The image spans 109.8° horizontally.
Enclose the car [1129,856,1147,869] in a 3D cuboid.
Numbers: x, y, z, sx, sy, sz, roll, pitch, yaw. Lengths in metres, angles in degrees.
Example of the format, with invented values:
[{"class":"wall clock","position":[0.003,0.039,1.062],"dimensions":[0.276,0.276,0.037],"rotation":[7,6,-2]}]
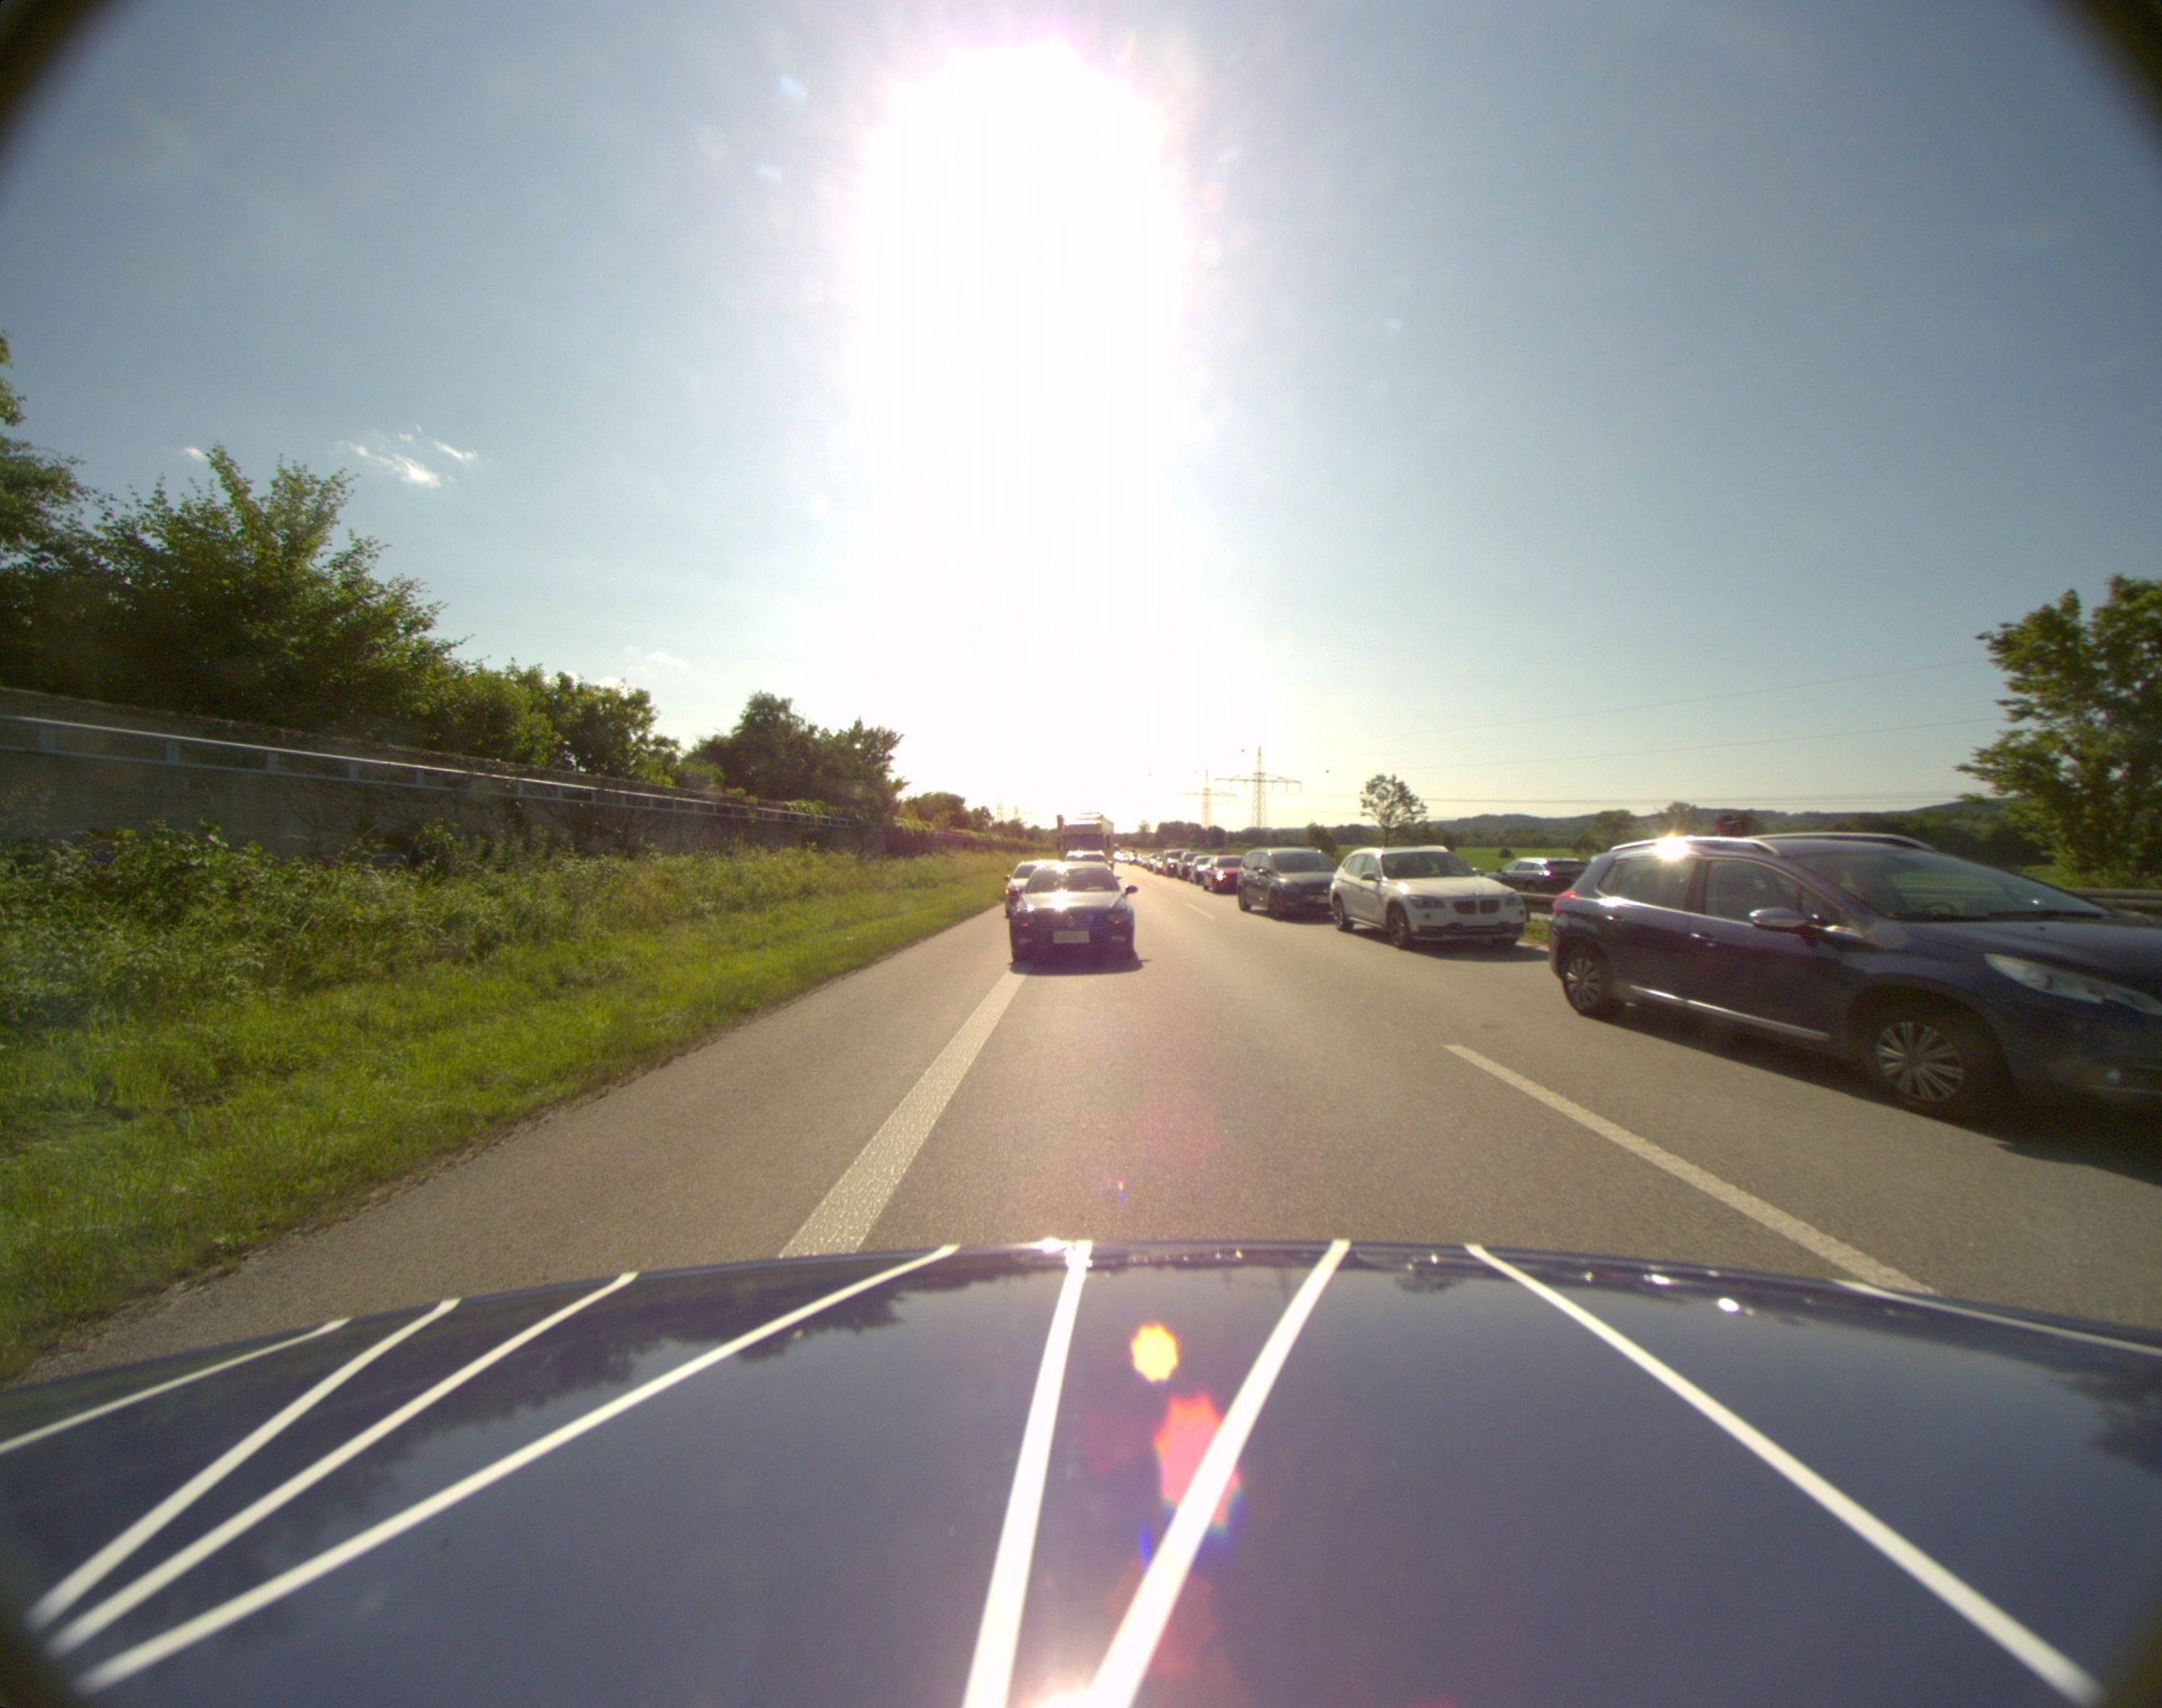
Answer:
[{"class":"car","position":[6.644,0.943,88.328],"dimensions":[1.819,1.450,4.117],"rotation":[0,0,1]}]

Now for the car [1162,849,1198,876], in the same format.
[{"class":"car","position":[6.706,0.542,51.760],"dimensions":[1.902,1.777,4.200],"rotation":[0,0,0]}]

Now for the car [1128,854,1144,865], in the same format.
[{"class":"car","position":[7.163,0.720,99.016],"dimensions":[1.819,1.450,4.118],"rotation":[0,0,2]}]

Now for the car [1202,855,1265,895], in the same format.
[{"class":"car","position":[5.968,0.786,30.106],"dimensions":[1.819,1.450,4.118],"rotation":[0,0,2]}]

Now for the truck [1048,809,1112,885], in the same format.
[{"class":"truck","position":[0.100,-0.410,45.172],"dimensions":[3.333,4.089,6.970],"rotation":[-2,1,3]}]

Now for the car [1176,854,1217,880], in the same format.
[{"class":"car","position":[6.755,0.720,44.889],"dimensions":[1.894,1.446,4.000],"rotation":[0,0,1]}]

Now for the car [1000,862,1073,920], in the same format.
[{"class":"car","position":[-1.175,0.980,21.885],"dimensions":[1.716,1.417,4.325],"rotation":[-2,0,1]}]

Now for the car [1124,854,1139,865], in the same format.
[{"class":"car","position":[7.124,0.773,107.444],"dimensions":[1.819,1.450,4.117],"rotation":[-2,0,1]}]

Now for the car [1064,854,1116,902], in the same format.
[{"class":"car","position":[0.360,0.820,28.323],"dimensions":[1.716,1.614,4.325],"rotation":[-2,0,1]}]

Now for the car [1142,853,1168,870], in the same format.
[{"class":"car","position":[6.616,0.657,68.230],"dimensions":[1.998,1.522,4.000],"rotation":[0,0,0]}]

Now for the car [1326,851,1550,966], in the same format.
[{"class":"car","position":[5.625,0.751,12.623],"dimensions":[1.832,1.564,4.163],"rotation":[-1,0,2]}]

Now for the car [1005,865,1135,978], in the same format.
[{"class":"car","position":[-0.100,0.946,12.439],"dimensions":[1.716,1.405,4.325],"rotation":[-2,0,1]}]

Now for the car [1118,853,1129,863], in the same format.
[{"class":"car","position":[7.135,0.646,127.820],"dimensions":[1.819,1.450,4.118],"rotation":[-2,0,2]}]

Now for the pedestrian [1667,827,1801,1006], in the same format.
[{"class":"pedestrian","position":[6.668,0.607,7.801],"dimensions":[0.672,1.740,0.814],"rotation":[0,1,1]}]

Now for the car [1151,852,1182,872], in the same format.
[{"class":"car","position":[6.599,0.592,58.935],"dimensions":[1.998,1.522,4.000],"rotation":[0,0,0]}]

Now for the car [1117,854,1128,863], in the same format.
[{"class":"car","position":[7.233,0.813,133.466],"dimensions":[1.819,1.450,4.118],"rotation":[0,0,2]}]

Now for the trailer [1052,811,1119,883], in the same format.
[{"class":"trailer","position":[0.600,-0.489,51.262],"dimensions":[3.387,4.089,13.955],"rotation":[-2,1,5]}]

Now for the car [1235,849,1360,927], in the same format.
[{"class":"car","position":[5.050,0.722,18.329],"dimensions":[1.820,1.606,4.117],"rotation":[-2,0,0]}]

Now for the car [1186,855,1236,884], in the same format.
[{"class":"car","position":[6.553,0.766,38.801],"dimensions":[1.895,1.390,4.000],"rotation":[0,0,0]}]

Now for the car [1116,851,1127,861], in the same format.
[{"class":"car","position":[7.605,0.331,142.798],"dimensions":[1.813,1.783,3.773],"rotation":[0,0,1]}]

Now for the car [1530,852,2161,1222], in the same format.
[{"class":"car","position":[5.192,0.781,5.258],"dimensions":[1.692,1.526,3.947],"rotation":[-2,0,-2]}]

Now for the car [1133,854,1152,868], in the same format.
[{"class":"car","position":[6.613,0.734,81.734],"dimensions":[1.819,1.450,4.118],"rotation":[-2,0,2]}]
